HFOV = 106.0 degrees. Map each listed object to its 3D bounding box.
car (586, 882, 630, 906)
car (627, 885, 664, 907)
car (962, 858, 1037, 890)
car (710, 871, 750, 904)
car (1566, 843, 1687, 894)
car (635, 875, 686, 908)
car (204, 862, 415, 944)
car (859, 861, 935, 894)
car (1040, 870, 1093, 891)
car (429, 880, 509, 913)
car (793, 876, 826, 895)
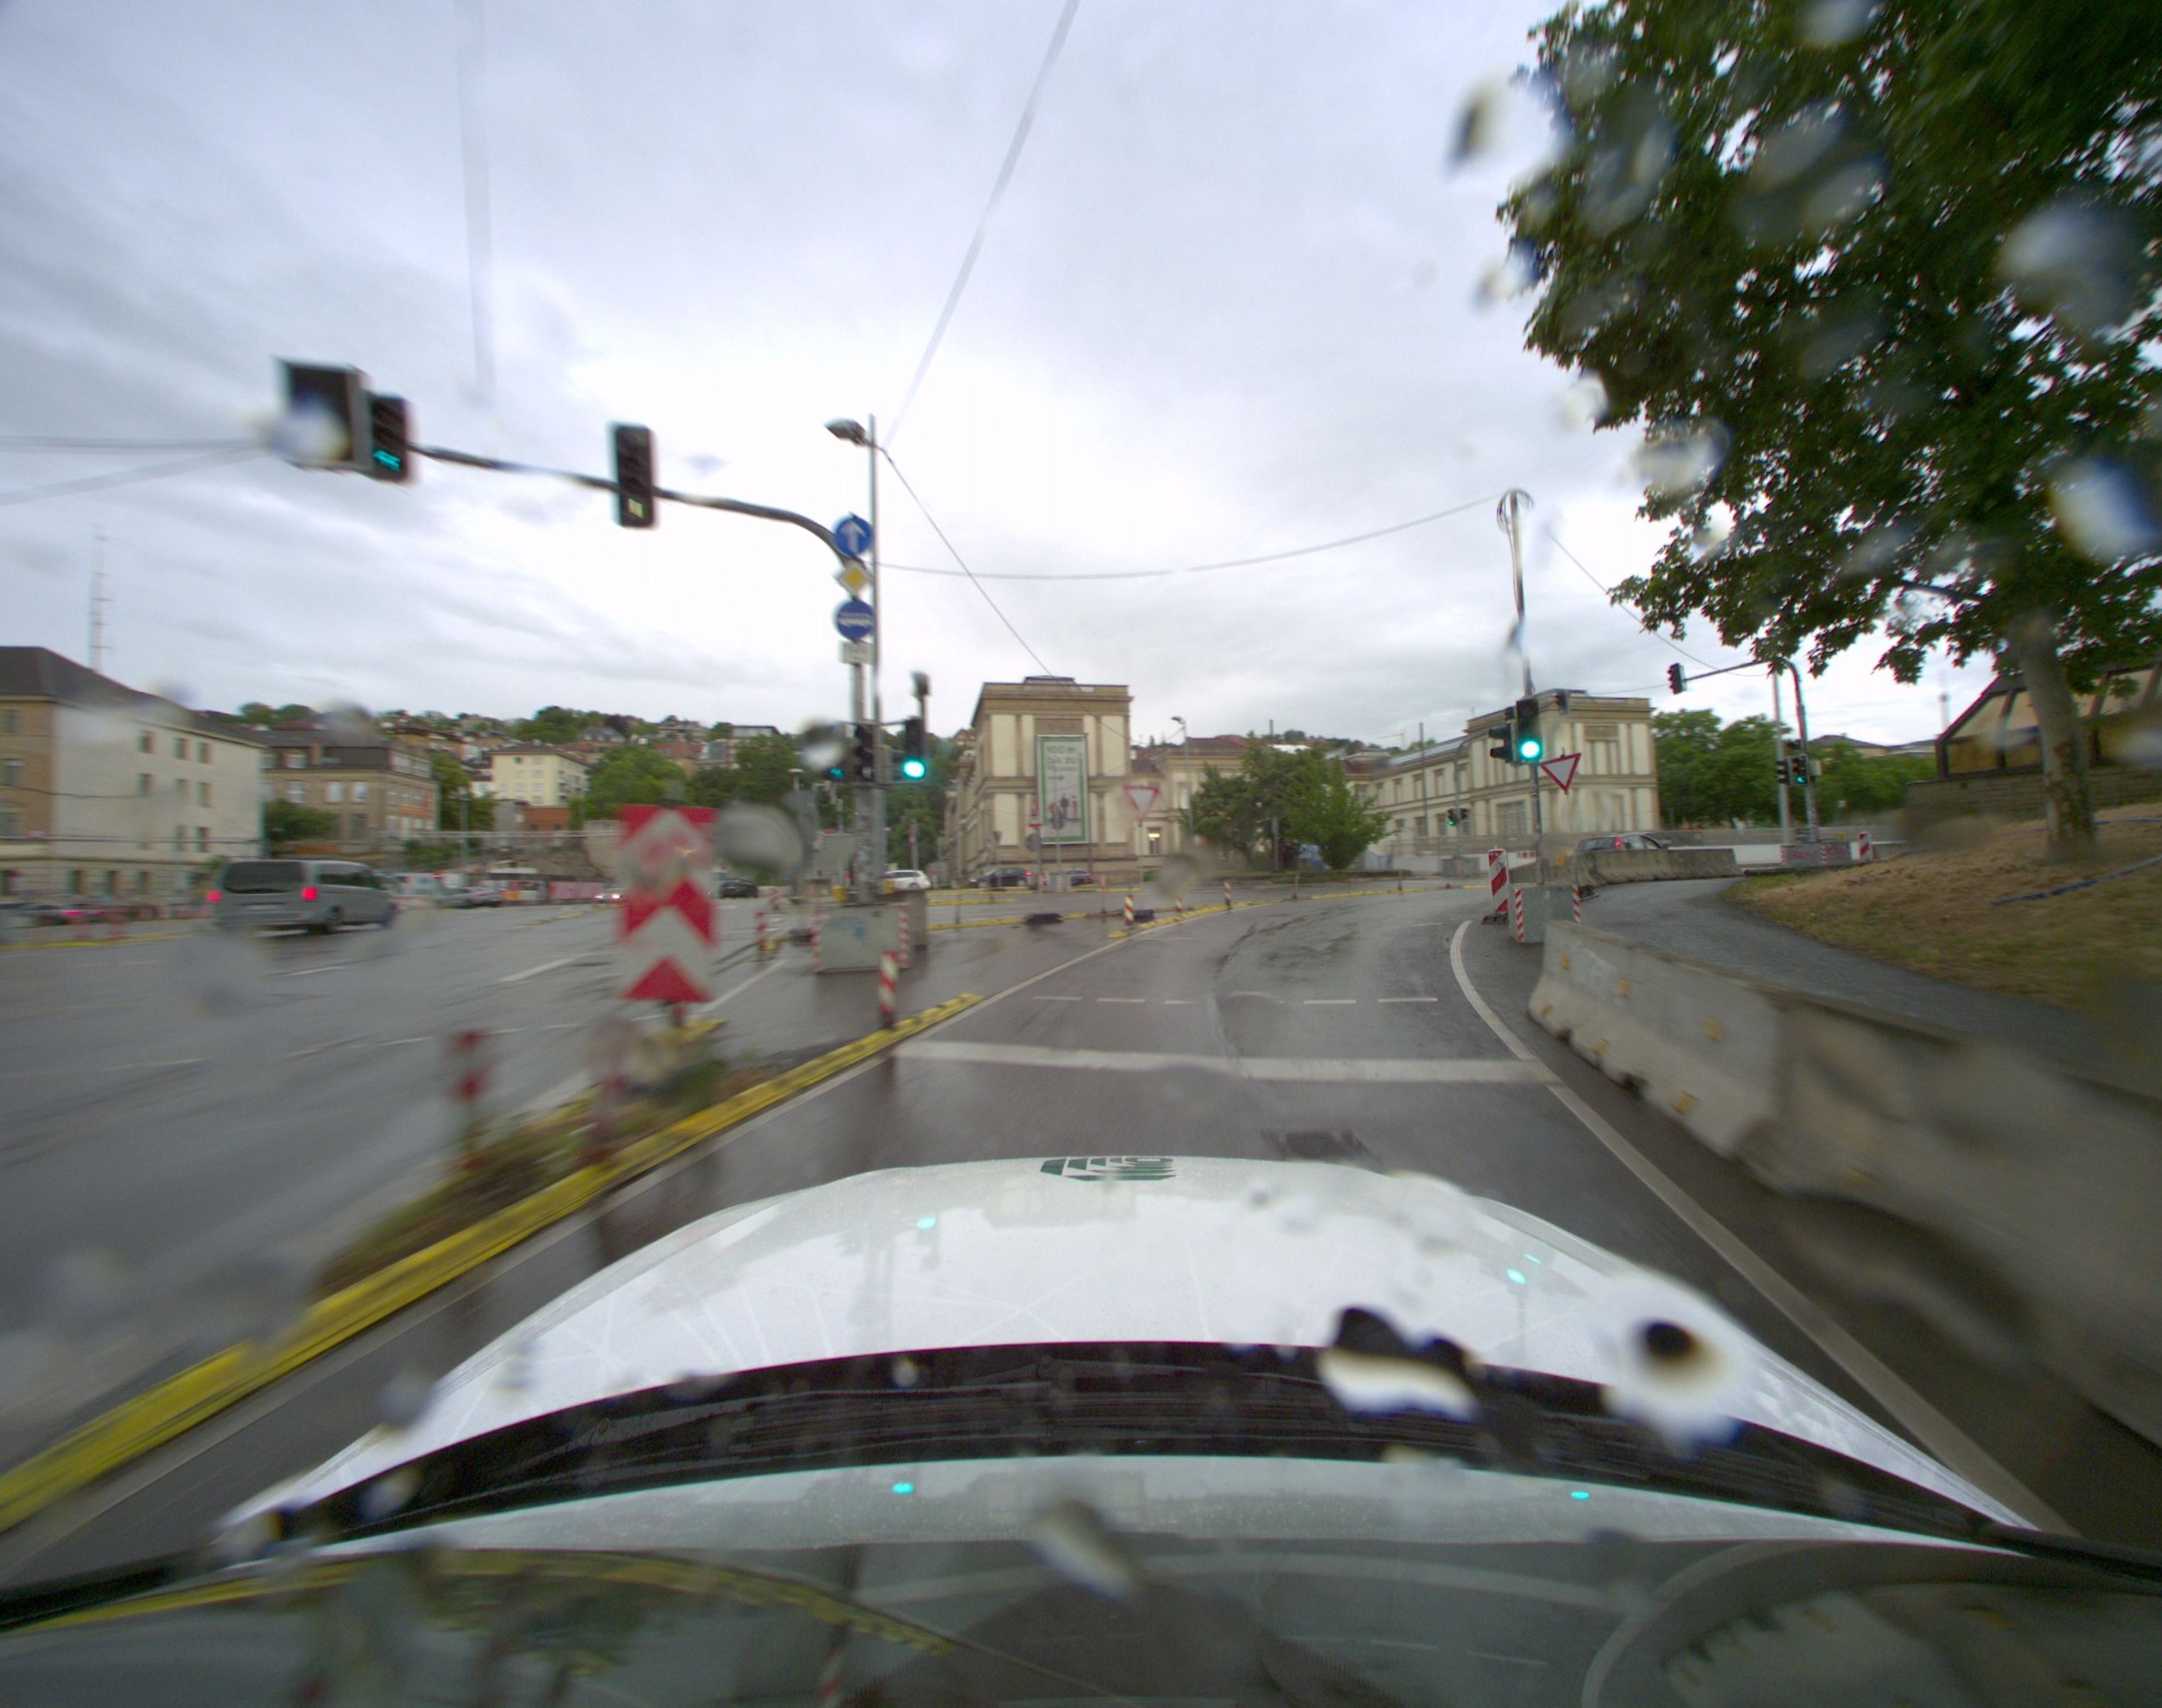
[{"bbox_3d":[-42.799,3.573,73.766,1.991,2.014,3.990,0,0,-7],"label":"car"},{"bbox_3d":[-43.672,4.147,81.785,1.991,2.014,3.990,0,0,-7],"label":"car"},{"bbox_3d":[-5.375,1.268,53.848,4.683,2.014,1.990,0,0,-16],"label":"car"},{"bbox_3d":[-23.341,2.184,54.247,1.998,2.013,3.977,-1,0,-17],"label":"car"},{"bbox_3d":[16.345,0.398,24.369,3.771,1.427,1.658,0,0,-33],"label":"car"},{"bbox_3d":[-19.640,1.718,38.171,2.003,1.438,3.966,0,-1,-25],"label":"car"},{"bbox_3d":[-19.518,1.146,20.945,1.998,1.839,4.657,0,-1,-17],"label":"car"},{"bbox_3d":[-11.729,1.468,51.974,4.635,2.014,1.990,0,0,-16],"label":"car"},{"bbox_3d":[-1.200,2.190,67.792,4.182,1.701,1.816,0,0,-11],"label":"car"},{"bbox_3d":[-39.893,2.728,53.083,4.247,2.014,2.009,0,0,16],"label":"car"},{"bbox_3d":[-24.874,2.899,74.689,1.991,1.634,3.992,1,-1,-5],"label":"car"}]
